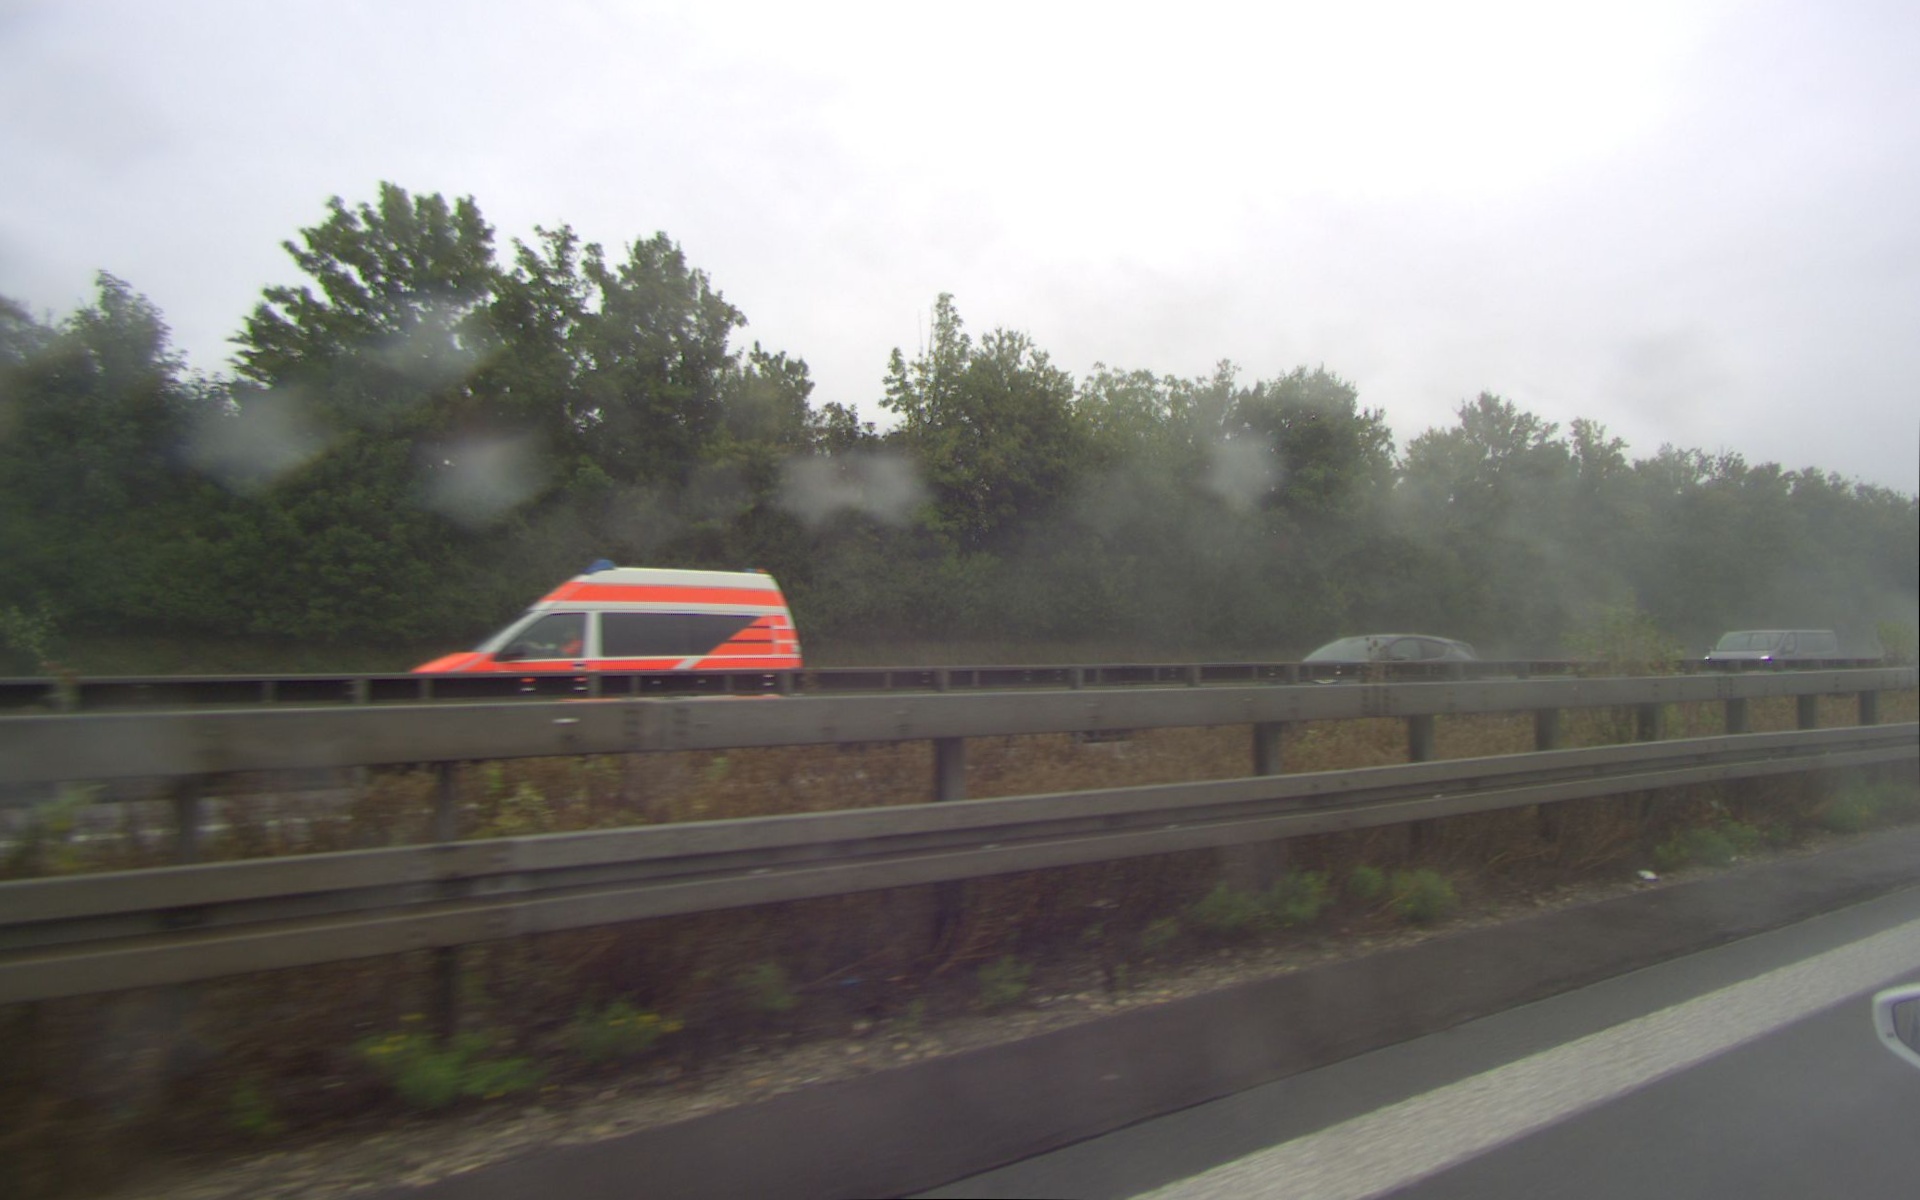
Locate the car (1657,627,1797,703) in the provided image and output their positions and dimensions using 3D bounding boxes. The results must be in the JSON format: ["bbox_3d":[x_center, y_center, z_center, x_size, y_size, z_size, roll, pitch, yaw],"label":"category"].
[{"bbox_3d":[24.636,1.994,32.250,4.612,2.202,2.022,1,0,-31],"label":"car"}]

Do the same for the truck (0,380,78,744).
[{"bbox_3d":[-20.293,-0.566,10.056,16.902,4.737,2.950,1,0,-31],"label":"truck"}]

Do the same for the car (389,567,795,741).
[{"bbox_3d":[-4.957,0.637,13.754,4.957,2.012,1.983,1,0,-31],"label":"car"}]
